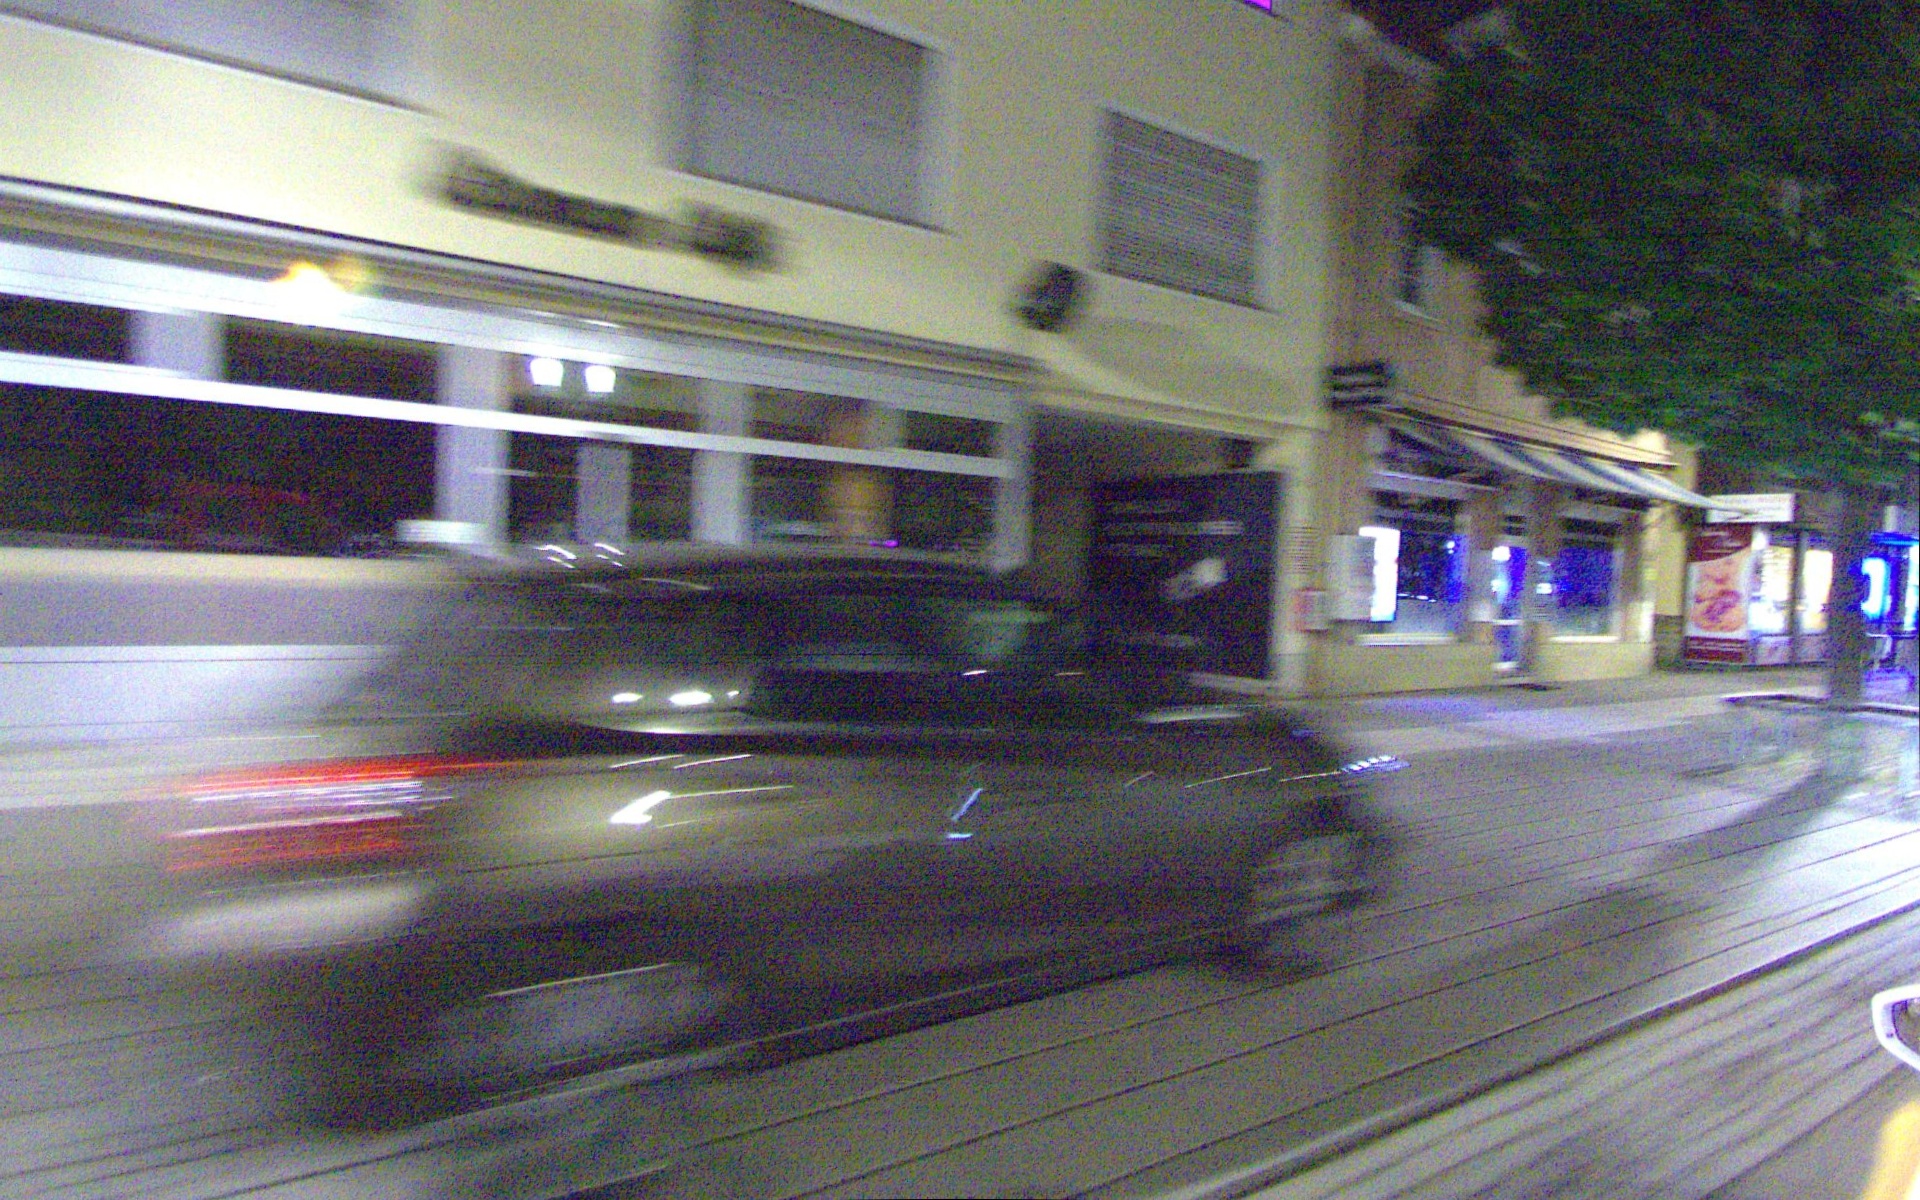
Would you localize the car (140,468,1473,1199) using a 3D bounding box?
[{"bbox_3d":[-0.124,0.559,3.578,4.188,1.564,1.662,1,3,-35],"label":"car"}]
